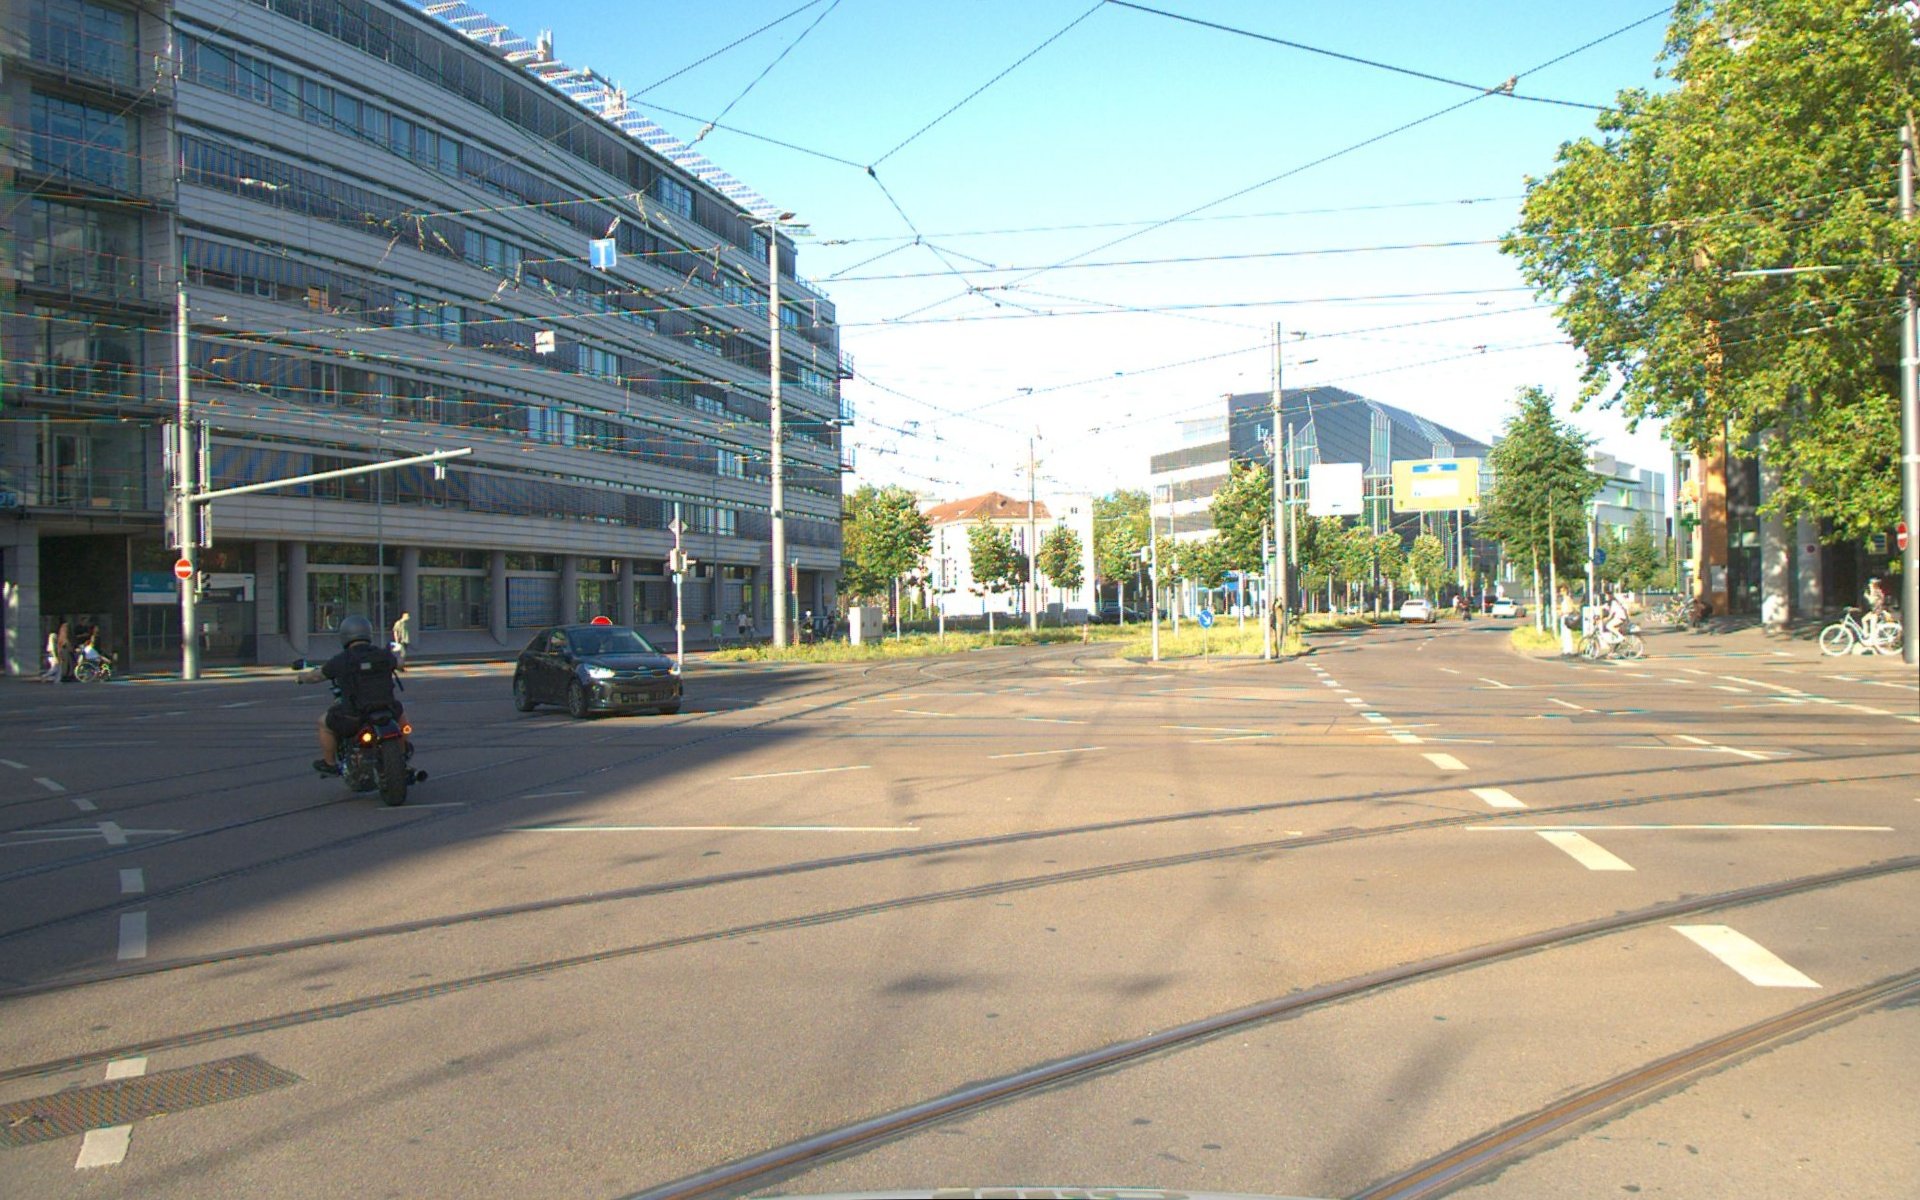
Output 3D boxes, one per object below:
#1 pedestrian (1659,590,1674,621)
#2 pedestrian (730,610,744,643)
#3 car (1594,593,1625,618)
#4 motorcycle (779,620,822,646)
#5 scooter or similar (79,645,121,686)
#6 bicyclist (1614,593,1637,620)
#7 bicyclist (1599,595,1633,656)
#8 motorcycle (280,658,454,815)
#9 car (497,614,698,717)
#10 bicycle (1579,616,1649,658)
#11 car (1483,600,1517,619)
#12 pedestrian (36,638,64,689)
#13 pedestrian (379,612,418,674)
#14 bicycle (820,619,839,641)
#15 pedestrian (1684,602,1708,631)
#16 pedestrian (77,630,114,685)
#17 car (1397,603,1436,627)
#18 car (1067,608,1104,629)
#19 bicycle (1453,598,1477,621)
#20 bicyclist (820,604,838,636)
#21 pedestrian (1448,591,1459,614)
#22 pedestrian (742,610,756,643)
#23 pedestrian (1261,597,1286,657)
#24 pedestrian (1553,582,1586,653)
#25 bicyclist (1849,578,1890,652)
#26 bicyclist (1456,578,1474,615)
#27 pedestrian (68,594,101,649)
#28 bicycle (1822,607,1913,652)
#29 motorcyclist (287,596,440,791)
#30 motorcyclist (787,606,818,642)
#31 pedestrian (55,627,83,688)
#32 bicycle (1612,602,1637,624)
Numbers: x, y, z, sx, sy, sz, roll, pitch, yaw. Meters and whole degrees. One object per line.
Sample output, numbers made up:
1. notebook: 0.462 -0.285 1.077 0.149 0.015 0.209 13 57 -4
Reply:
1. pedestrian: 36.817 0.280 86.207 0.691 1.597 0.622 -1 0 24
2. pedestrian: -12.342 1.461 91.577 0.536 1.764 0.642 -1 0 14
3. car: 52.099 0.458 132.576 2.012 1.906 4.223 0 -1 26
4. motorcycle: -7.923 1.632 82.464 0.963 1.253 2.944 -1 -1 19
5. scooter or similar: -25.205 1.921 48.470 1.000 1.149 0.547 -1 0 -21
6. bicyclist: 35.139 0.352 87.400 1.018 1.405 1.564 -1 0 19
7. bicyclist: 16.750 0.652 42.255 0.727 1.529 0.570 -2 -1 17
8. motorcycle: -5.147 1.115 14.253 0.995 1.145 2.298 0 0 -31
9. car: -6.017 1.020 27.119 1.776 1.491 4.259 -2 0 -34
10. bicycle: 16.713 0.951 42.277 1.593 1.039 0.516 -2 -1 18
11. car: 42.665 0.755 130.657 1.976 1.400 4.035 -1 0 26
12. pedestrian: -25.977 1.815 47.206 0.627 1.426 0.543 -1 0 -21
13. pedestrian: -17.216 1.300 50.696 0.864 1.855 0.677 -2 -1 14
14. bicycle: -7.141 1.627 90.347 0.628 1.127 1.686 -1 0 10
15. pedestrian: 28.579 0.634 64.219 0.769 1.075 0.812 -1 0 31
16. pedestrian: -25.893 1.717 49.528 0.706 1.645 0.655 -1 -1 17
17. car: 28.916 0.955 104.701 1.863 1.534 3.998 0 -1 23
18. car: 12.869 1.880 169.496 1.970 2.049 3.964 -1 0 -27
19. bicycle: 36.659 0.678 119.991 0.996 1.607 3.570 -1 0 27
20. bicyclist: -7.147 1.090 90.405 0.747 1.696 0.994 -1 0 10
21. pedestrian: 40.209 0.198 134.862 0.631 1.850 0.626 -2 0 40
22. pedestrian: -11.691 1.465 91.579 0.536 1.764 0.642 -1 0 14
23. pedestrian: 8.582 0.739 45.257 0.643 1.610 0.489 -1 0 12
24. pedestrian: 16.356 0.464 44.355 0.690 1.869 0.511 -1 -1 44
25. bicyclist: 21.724 0.359 39.517 0.727 1.724 0.570 -2 -1 20
26. bicyclist: 36.631 -0.260 119.942 0.996 2.670 1.470 -1 0 28
27. pedestrian: -28.323 0.689 53.486 0.630 1.745 0.690 -1 0 21
28. bicycle: 21.673 0.713 39.517 1.814 1.039 0.516 -2 -1 20
29. motorcyclist: -5.145 0.762 14.229 1.012 1.579 1.273 0 0 -31
30. motorcyclist: -7.875 1.204 82.586 0.997 1.761 1.461 -1 -1 19
31. pedestrian: -25.974 1.673 48.198 0.627 1.738 0.578 -1 0 -21
32. bicycle: 35.151 0.681 87.571 1.018 1.153 3.181 -1 0 19
